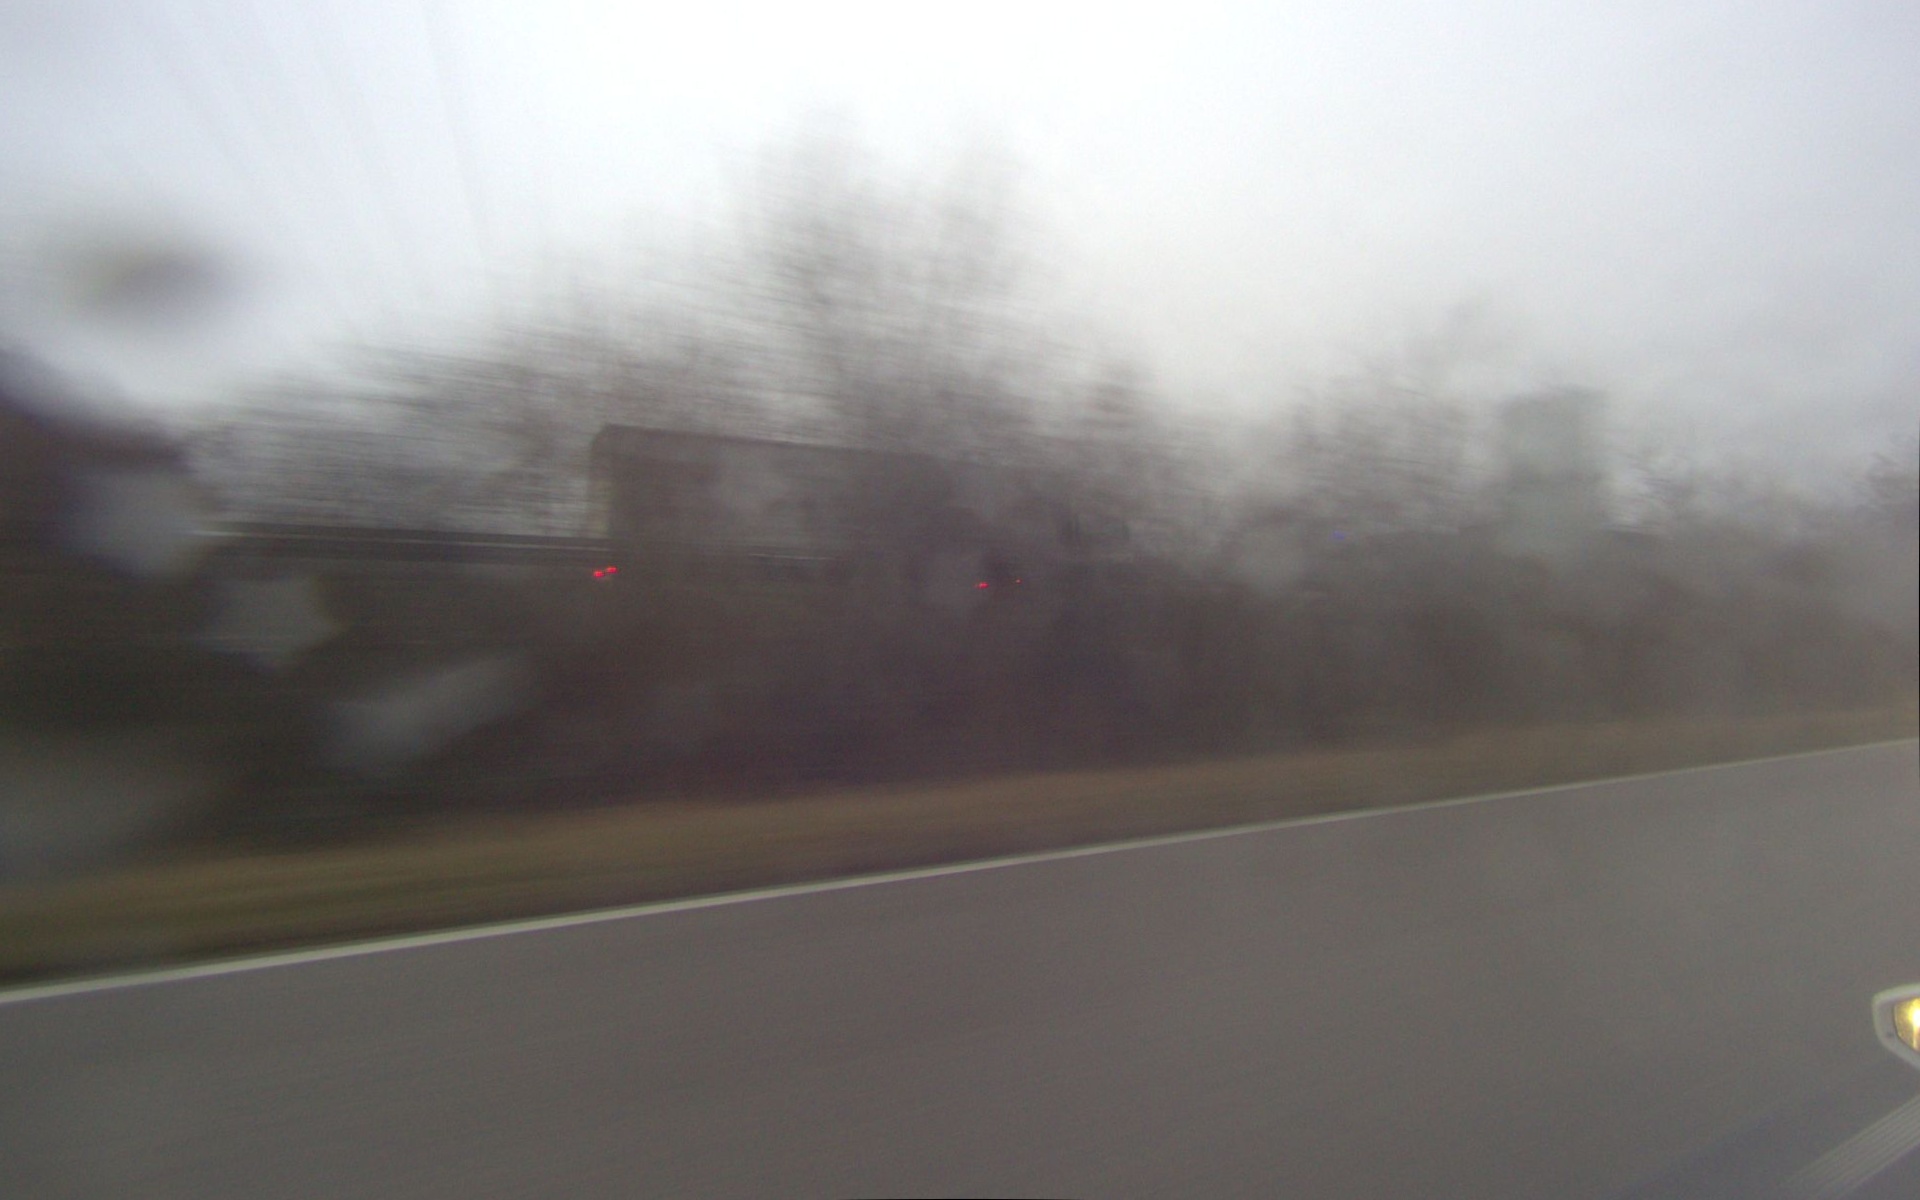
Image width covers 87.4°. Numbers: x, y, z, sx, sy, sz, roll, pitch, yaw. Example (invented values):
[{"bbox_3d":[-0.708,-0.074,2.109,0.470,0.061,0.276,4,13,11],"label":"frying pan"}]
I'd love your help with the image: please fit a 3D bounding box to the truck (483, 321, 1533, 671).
[{"bbox_3d":[5.277,-1.797,35.766,39.680,7.815,7.507,2,0,-31],"label":"truck"}]
